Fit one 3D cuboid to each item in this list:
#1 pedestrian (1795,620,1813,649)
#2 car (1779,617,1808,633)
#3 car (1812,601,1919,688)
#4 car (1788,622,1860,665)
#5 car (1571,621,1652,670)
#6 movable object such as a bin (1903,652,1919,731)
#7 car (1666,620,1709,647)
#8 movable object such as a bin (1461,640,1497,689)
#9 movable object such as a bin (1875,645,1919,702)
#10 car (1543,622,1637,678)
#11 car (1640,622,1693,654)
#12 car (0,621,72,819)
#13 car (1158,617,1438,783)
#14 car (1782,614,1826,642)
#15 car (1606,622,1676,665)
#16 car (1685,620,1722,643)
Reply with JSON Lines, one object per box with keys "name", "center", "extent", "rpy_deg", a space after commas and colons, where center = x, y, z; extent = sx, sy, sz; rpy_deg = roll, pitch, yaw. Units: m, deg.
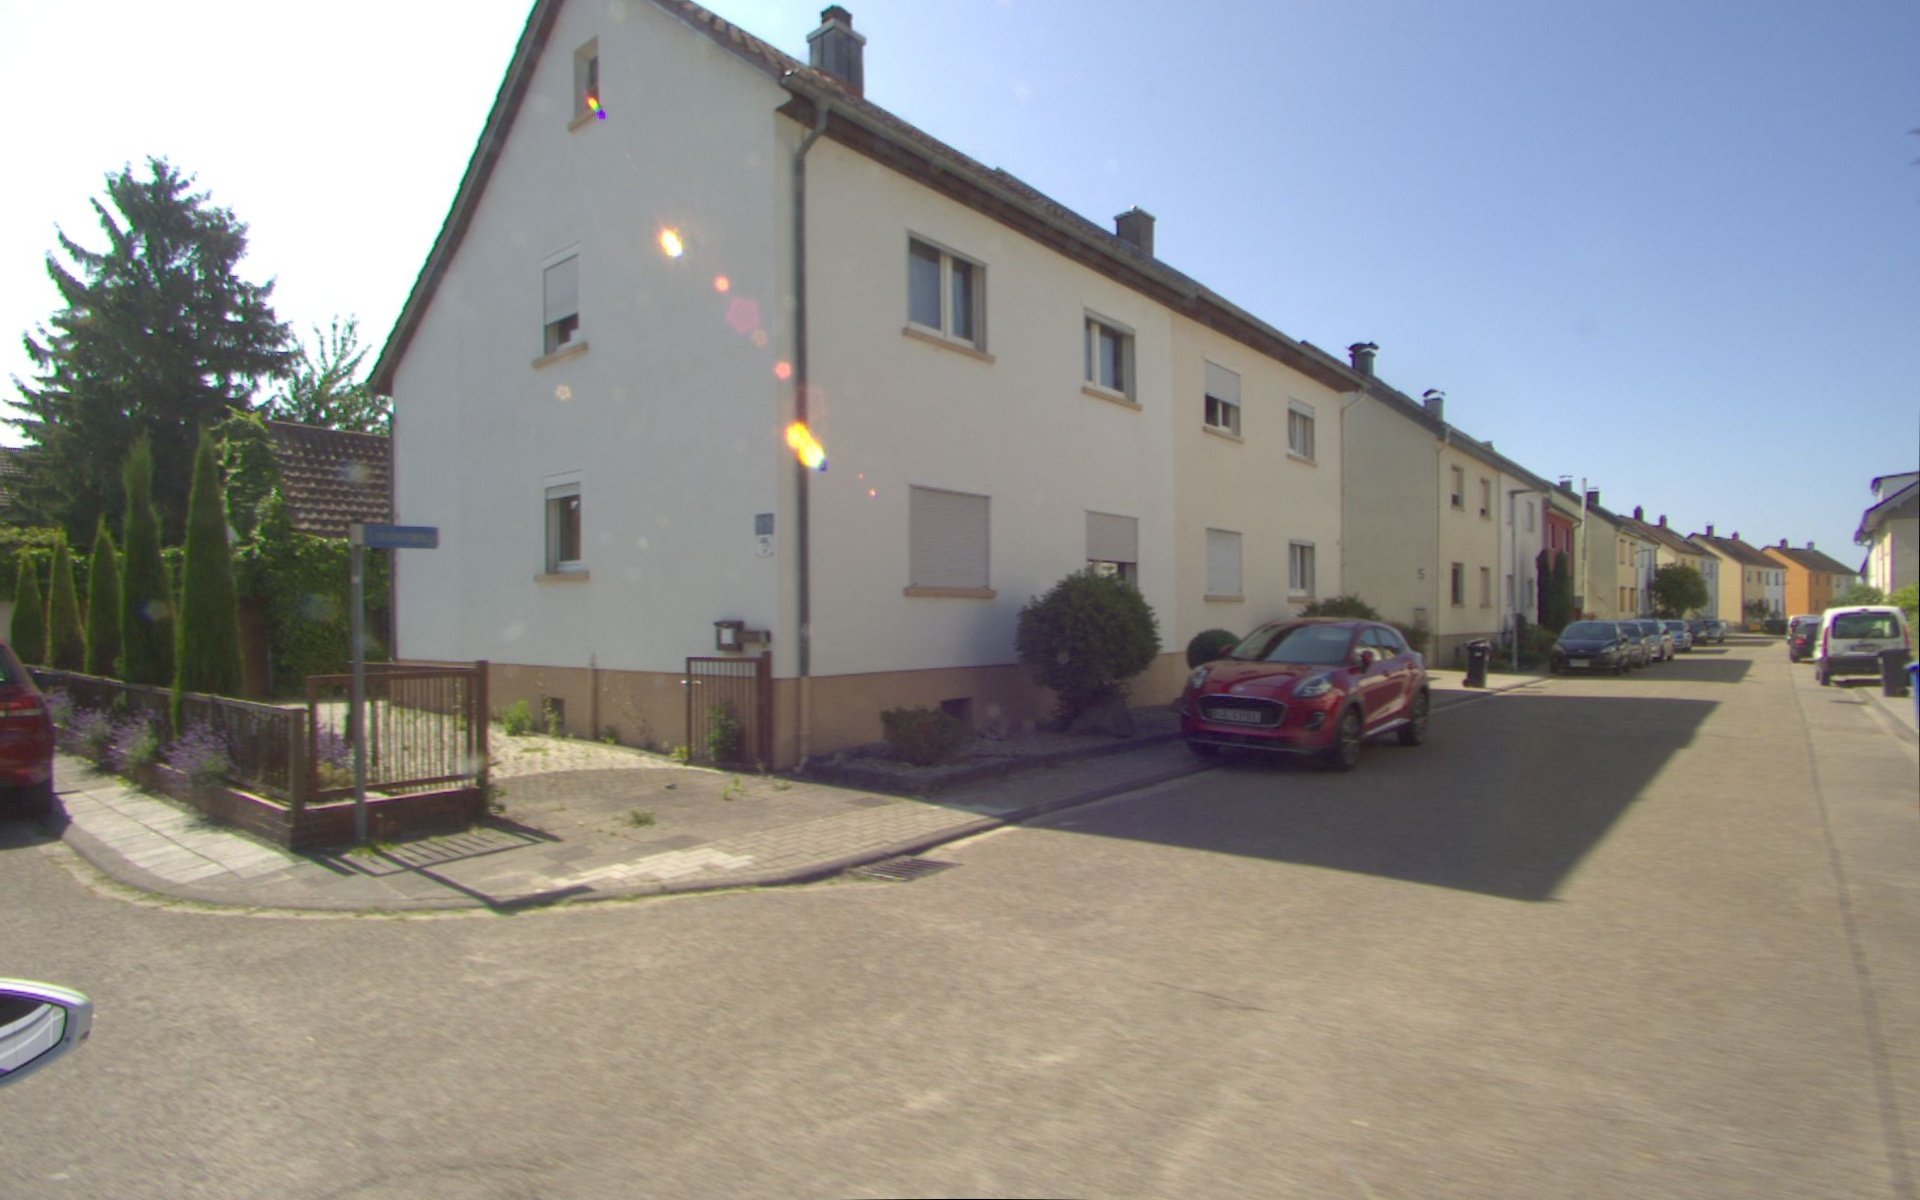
{"name": "pedestrian", "center": [42.438, 1.738, 50.354], "extent": [0.647, 1.400, 0.623], "rpy_deg": [-3, -2, 38]}
{"name": "car", "center": [78.255, 2.360, 94.013], "extent": [1.779, 1.429, 3.962], "rpy_deg": [-1, -1, 45]}
{"name": "car", "center": [21.191, 1.025, 23.476], "extent": [1.776, 1.861, 3.969], "rpy_deg": [-3, -3, 40]}
{"name": "car", "center": [30.036, 1.504, 34.862], "extent": [1.776, 1.399, 3.969], "rpy_deg": [-3, -3, 40]}
{"name": "car", "center": [20.997, 1.414, 32.194], "extent": [1.776, 1.429, 3.969], "rpy_deg": [-1, -1, 39]}
{"name": "movable object such as a bin", "center": [13.259, 1.244, 13.612], "extent": [0.596, 1.043, 0.591], "rpy_deg": [0, -1, 40]}
{"name": "car", "center": [41.785, 1.897, 57.461], "extent": [1.776, 1.429, 3.969], "rpy_deg": [-1, -1, 39]}
{"name": "movable object such as a bin", "center": [11.344, 1.394, 21.869], "extent": [0.596, 1.043, 0.558], "rpy_deg": [0, -1, 40]}
{"name": "movable object such as a bin", "center": [17.996, 1.397, 19.237], "extent": [0.596, 1.043, 0.591], "rpy_deg": [0, -1, 40]}
{"name": "car", "center": [17.807, 1.346, 28.241], "extent": [1.776, 1.429, 3.969], "rpy_deg": [-1, -1, 39]}
{"name": "car", "center": [33.143, 1.741, 46.946], "extent": [1.776, 1.429, 3.969], "rpy_deg": [-1, -1, 39]}
{"name": "car", "center": [-9.020, 0.929, 8.591], "extent": [3.958, 1.498, 1.766], "rpy_deg": [-1, -3, 44]}
{"name": "car", "center": [4.016, 0.980, 11.507], "extent": [1.776, 1.550, 3.969], "rpy_deg": [-1, -1, 39]}
{"name": "car", "center": [50.866, 1.685, 60.371], "extent": [1.910, 1.552, 3.969], "rpy_deg": [-3, -3, 40]}
{"name": "car", "center": [24.704, 1.529, 36.264], "extent": [1.776, 1.429, 3.969], "rpy_deg": [-1, -1, 39]}
{"name": "car", "center": [48.200, 2.010, 64.885], "extent": [1.776, 1.429, 3.969], "rpy_deg": [-1, -1, 39]}
